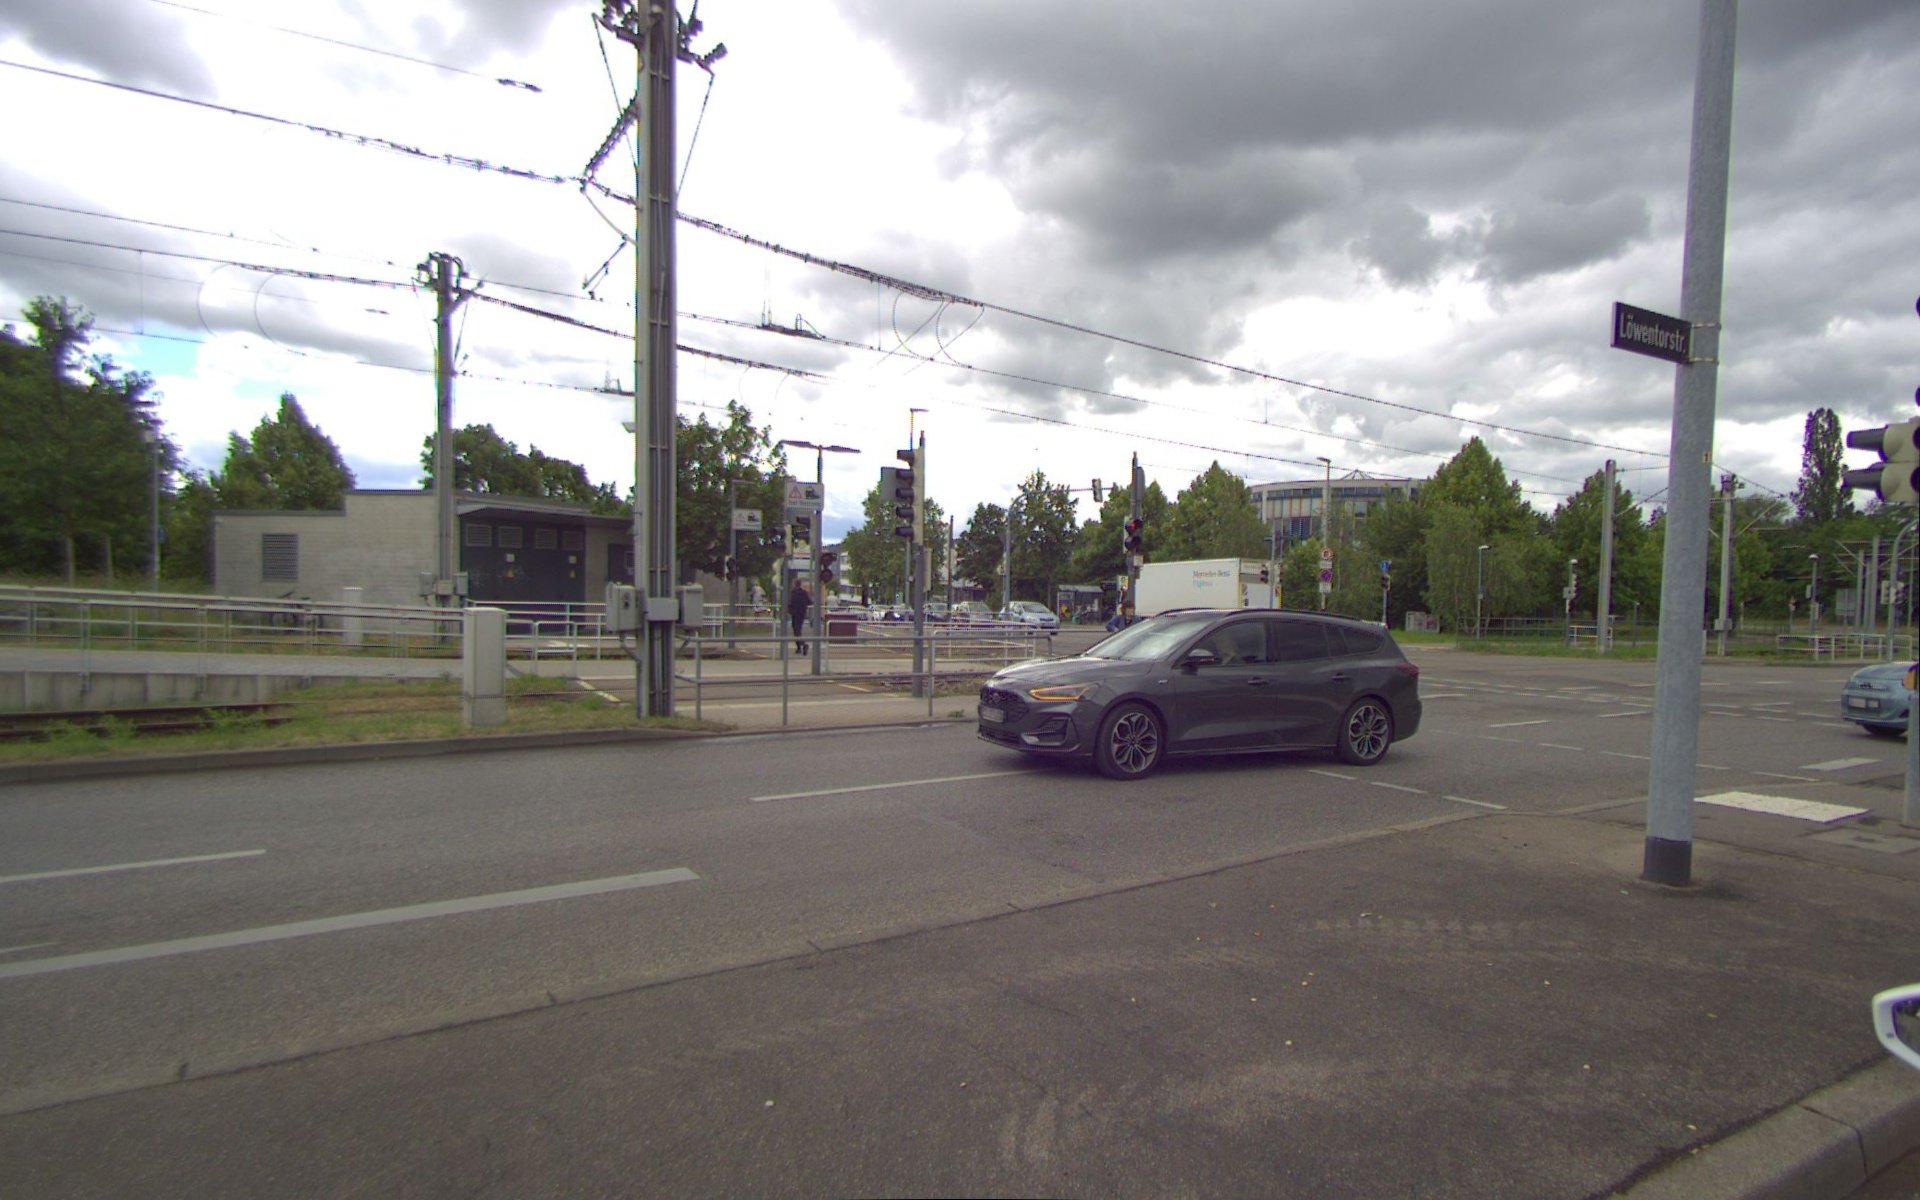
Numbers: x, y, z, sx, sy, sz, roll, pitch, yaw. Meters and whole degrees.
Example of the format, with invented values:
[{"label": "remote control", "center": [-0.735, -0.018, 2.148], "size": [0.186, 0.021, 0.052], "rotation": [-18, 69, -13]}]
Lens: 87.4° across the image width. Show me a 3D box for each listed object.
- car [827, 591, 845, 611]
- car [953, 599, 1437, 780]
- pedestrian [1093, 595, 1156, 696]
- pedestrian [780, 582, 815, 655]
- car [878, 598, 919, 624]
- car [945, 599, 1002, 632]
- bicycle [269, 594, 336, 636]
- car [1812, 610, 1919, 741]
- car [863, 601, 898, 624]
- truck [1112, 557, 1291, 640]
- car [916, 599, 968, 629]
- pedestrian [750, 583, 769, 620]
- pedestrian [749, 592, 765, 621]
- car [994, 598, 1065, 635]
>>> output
[{"label": "car", "center": [-14.620, 0.077, 118.103], "size": [1.964, 2.218, 5.800], "rotation": [1, 0, -9]}, {"label": "car", "center": [2.315, 0.783, 9.831], "size": [4.371, 1.443, 1.865], "rotation": [2, 0, -24]}, {"label": "pedestrian", "center": [2.613, 0.720, 15.994], "size": [0.712, 1.557, 0.630], "rotation": [2, 0, -33]}, {"label": "pedestrian", "center": [-3.959, 0.446, 24.439], "size": [0.700, 1.751, 0.674], "rotation": [2, 0, -19]}, {"label": "car", "center": [-4.226, 0.719, 68.421], "size": [1.776, 1.617, 3.982], "rotation": [2, 0, -20]}, {"label": "car", "center": [0.660, 0.797, 53.862], "size": [1.776, 1.617, 3.982], "rotation": [2, 0, -20]}, {"label": "bicycle", "center": [-17.412, 0.395, 26.593], "size": [1.778, 1.045, 0.536], "rotation": [2, 0, 21]}, {"label": "car", "center": [13.132, 0.952, 12.399], "size": [3.528, 1.548, 1.763], "rotation": [2, 0, 13]}, {"label": "car", "center": [-6.025, 0.924, 75.467], "size": [1.775, 1.617, 3.985], "rotation": [2, 0, -17]}, {"label": "truck", "center": [11.285, -0.105, 48.242], "size": [2.979, 3.580, 9.214], "rotation": [1, 0, -28]}, {"label": "car", "center": [-1.070, 0.764, 58.035], "size": [1.776, 1.617, 3.982], "rotation": [2, 0, -20]}, {"label": "pedestrian", "center": [-8.473, 0.056, 42.486], "size": [0.633, 1.557, 0.521], "rotation": [2, 0, -2]}, {"label": "pedestrian", "center": [-9.955, 0.303, 49.256], "size": [0.594, 1.377, 0.613], "rotation": [2, 0, -24]}, {"label": "car", "center": [3.191, 0.736, 46.896], "size": [1.848, 1.617, 3.982], "rotation": [2, 0, -20]}]
